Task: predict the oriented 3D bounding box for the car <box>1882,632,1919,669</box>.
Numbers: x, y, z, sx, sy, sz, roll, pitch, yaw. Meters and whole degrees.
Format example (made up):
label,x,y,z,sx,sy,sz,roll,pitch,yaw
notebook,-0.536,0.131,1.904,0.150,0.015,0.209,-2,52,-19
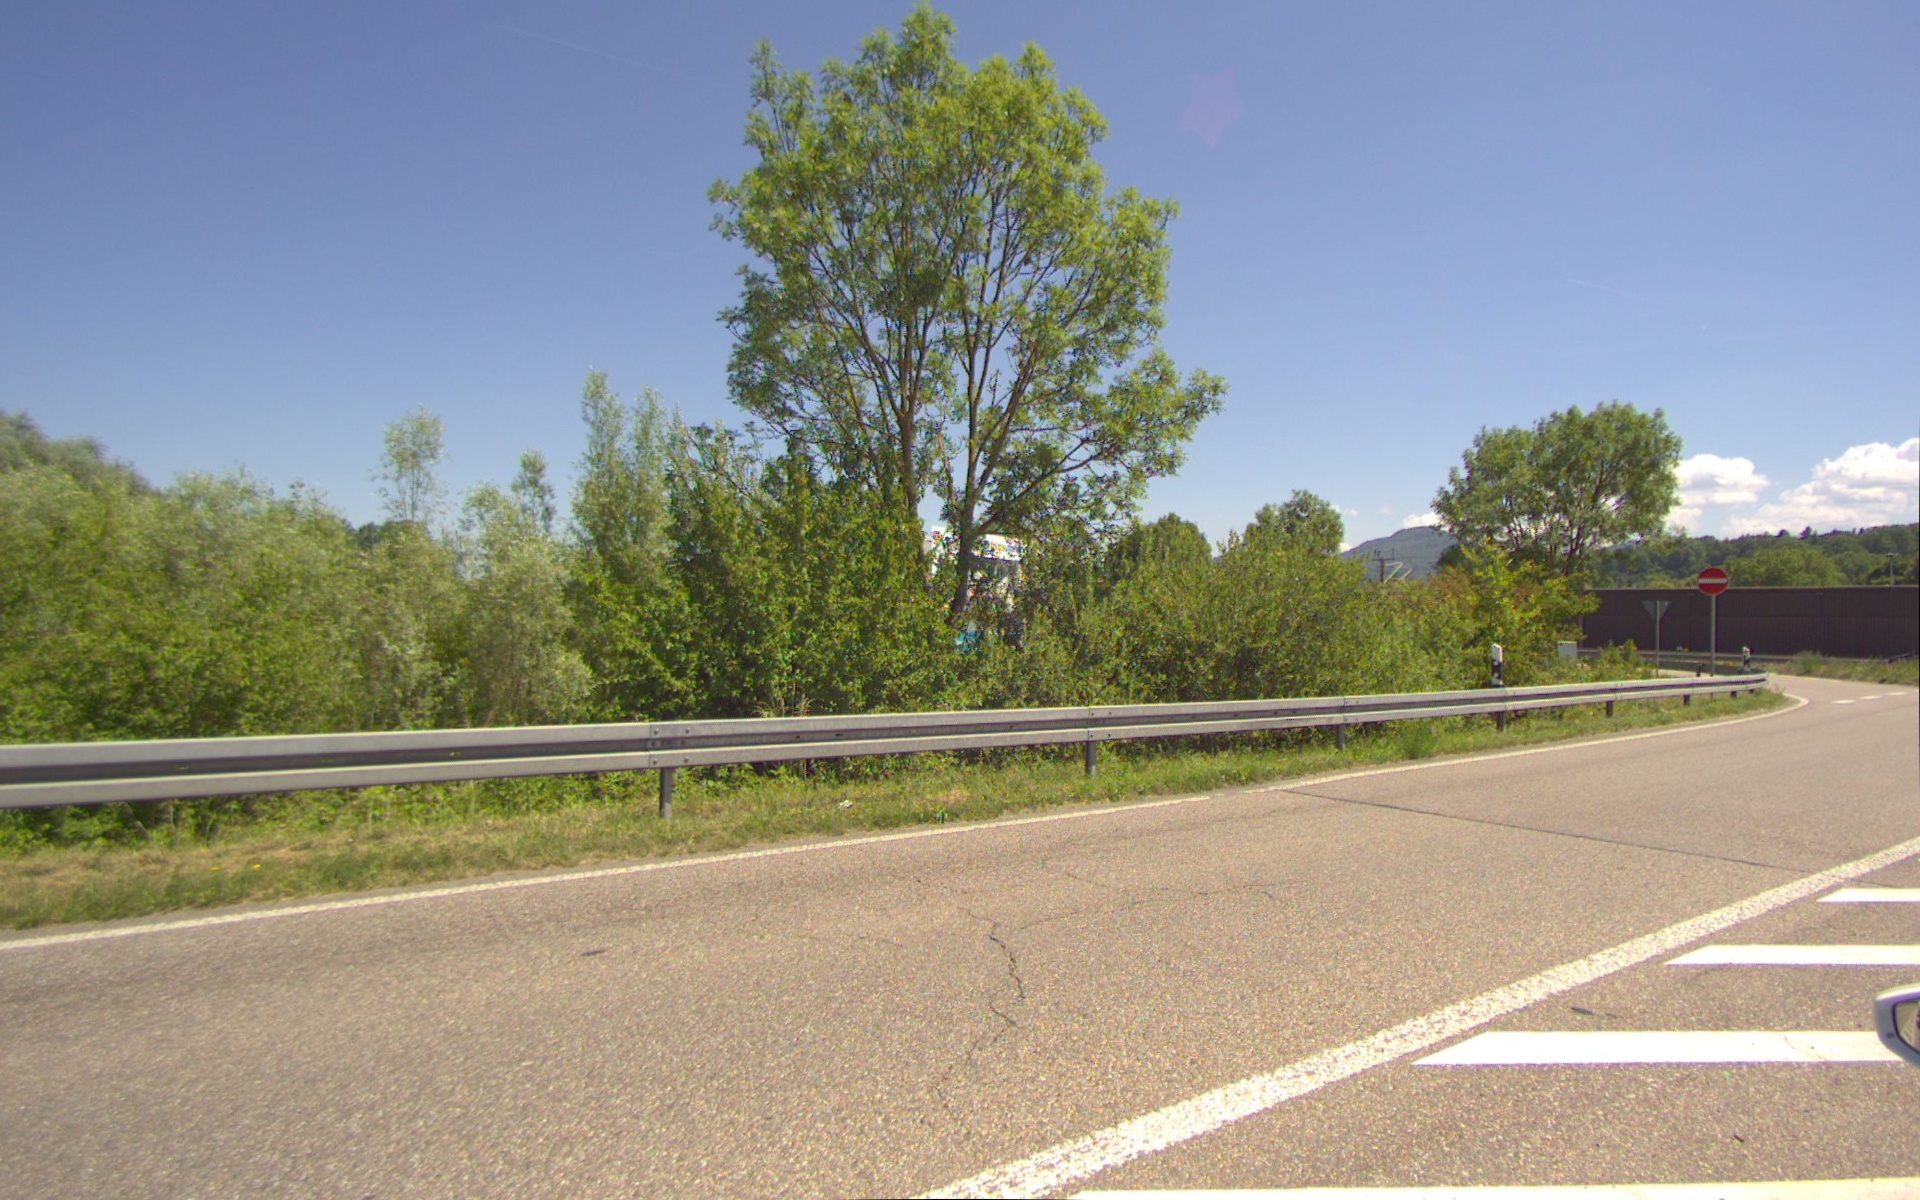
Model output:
label,x,y,z,sx,sy,sz,roll,pitch,yaw
car,41.906,2.211,42.442,1.979,1.505,3.963,2,0,-33
